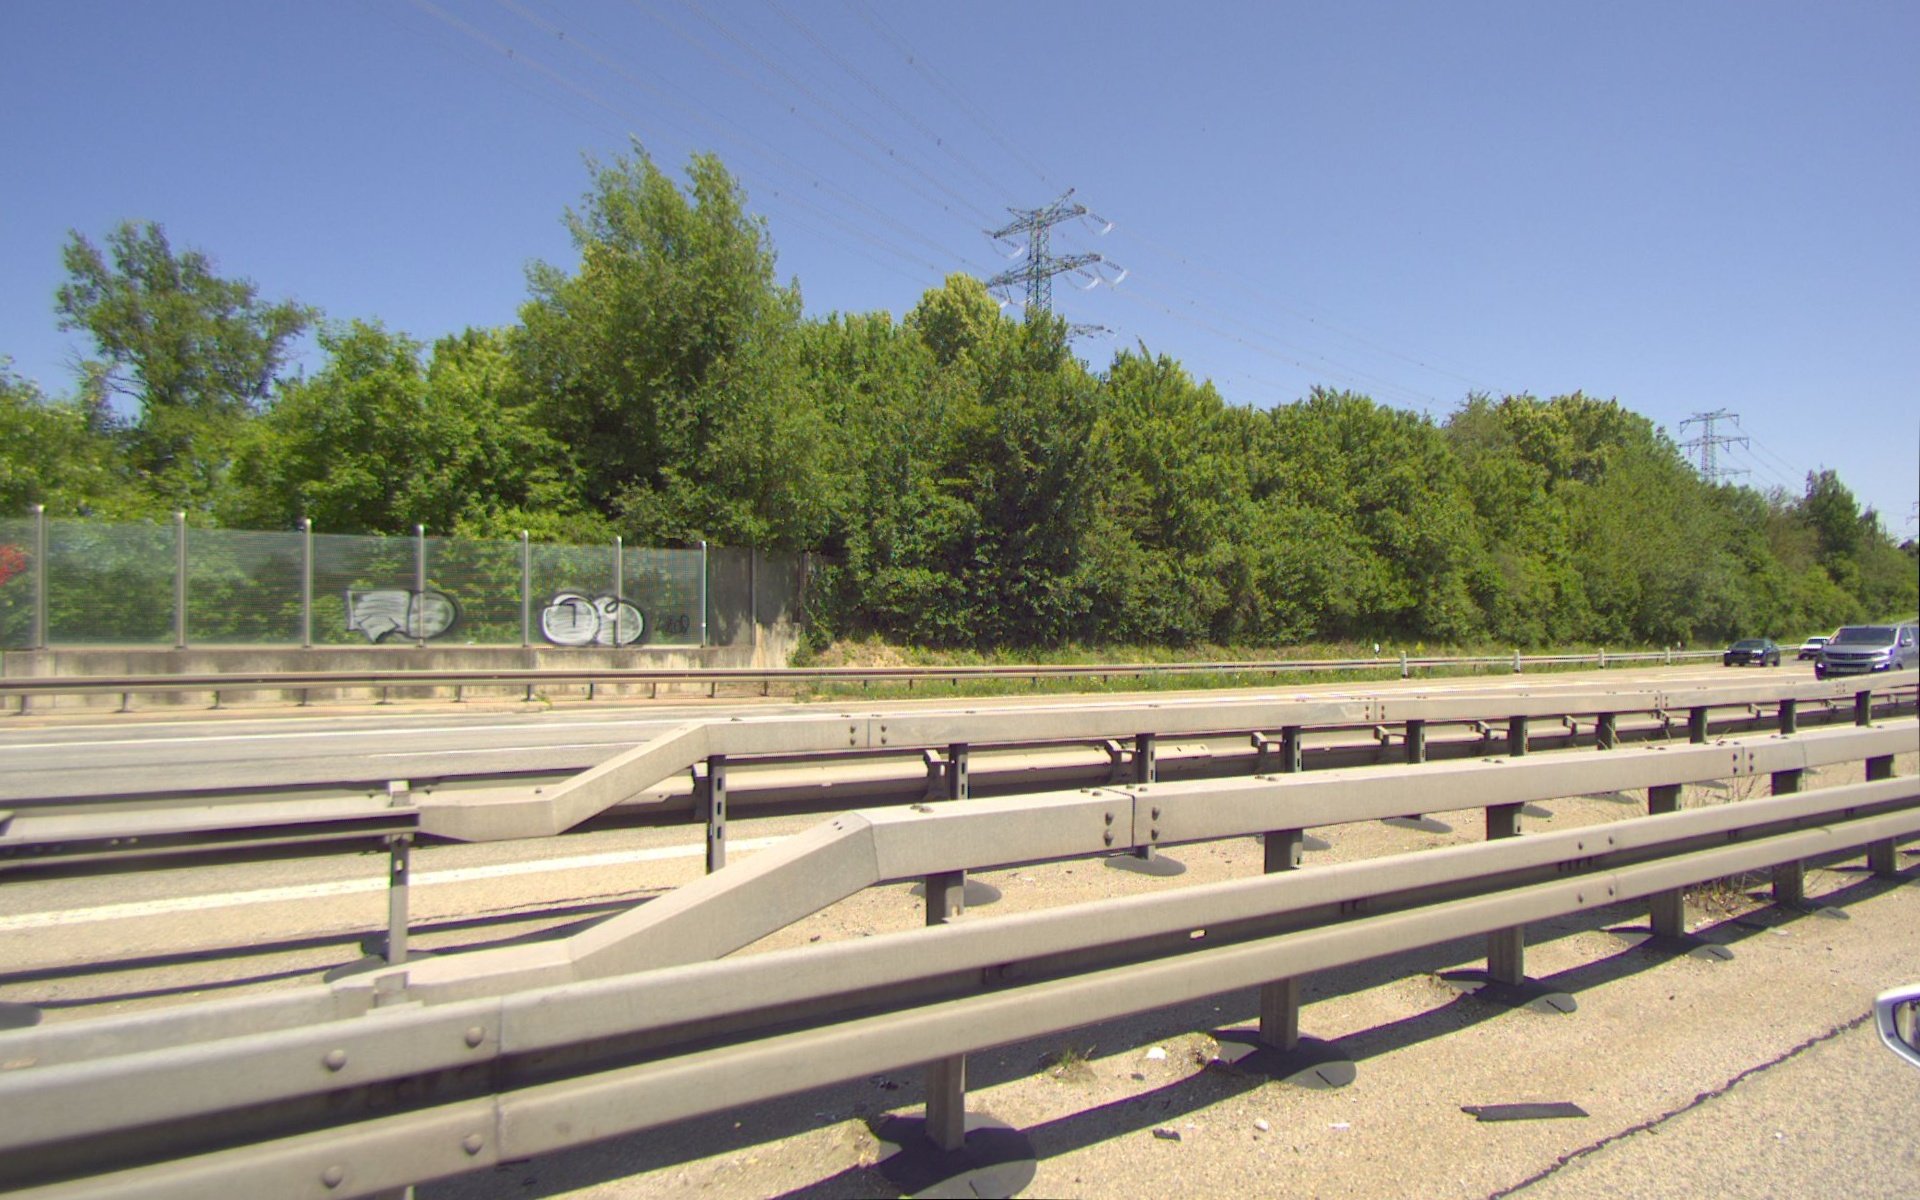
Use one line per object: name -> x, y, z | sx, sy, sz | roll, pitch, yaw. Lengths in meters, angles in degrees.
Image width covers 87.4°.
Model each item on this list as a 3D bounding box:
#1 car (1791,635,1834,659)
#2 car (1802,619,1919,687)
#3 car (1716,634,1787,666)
car -> 57.308, 3.121, 67.473 | 4.314, 1.475, 1.669 | 2, 0, -43
car -> 28.524, 1.619, 31.319 | 4.840, 1.966, 1.984 | 2, -2, -30
car -> 43.754, 2.729, 55.479 | 5.231, 1.597, 1.977 | 2, 0, -40
